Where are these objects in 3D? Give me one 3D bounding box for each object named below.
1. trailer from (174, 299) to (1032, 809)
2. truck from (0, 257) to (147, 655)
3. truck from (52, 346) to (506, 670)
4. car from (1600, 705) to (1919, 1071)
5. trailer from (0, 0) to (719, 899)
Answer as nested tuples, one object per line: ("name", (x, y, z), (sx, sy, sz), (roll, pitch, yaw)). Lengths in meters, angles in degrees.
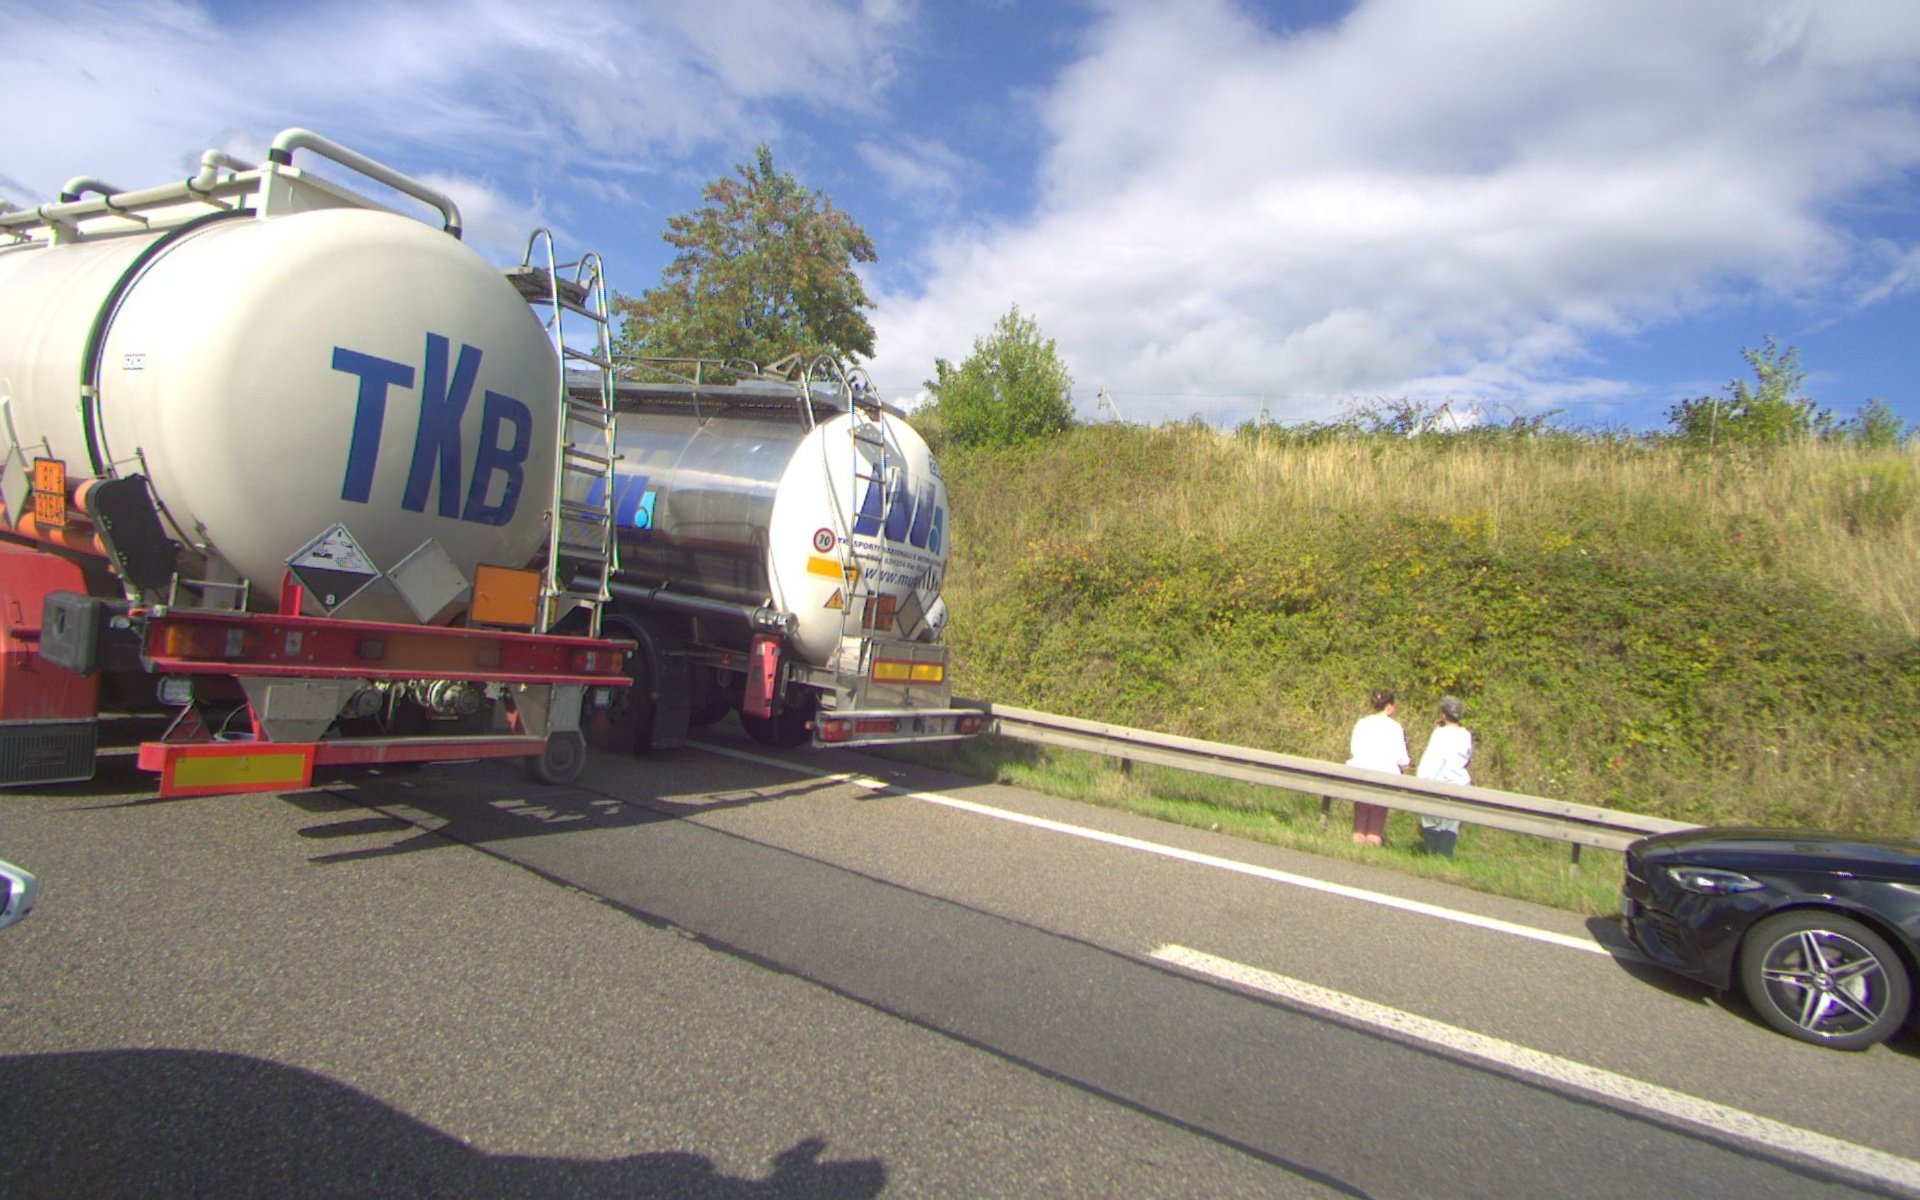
("trailer", (-4.606, -0.694, 10.979), (10.451, 3.641, 2.545), (6, -1, 32))
("truck", (-11.896, -1.674, 10.827), (6.617, 3.626, 2.538), (6, -1, 32))
("truck", (-9.771, -1.271, 14.210), (6.664, 3.616, 2.533), (6, -1, 32))
("car", (6.006, 1.633, 4.892), (4.658, 1.531, 1.904), (7, -1, 31))
("trailer", (-6.699, -1.092, 7.572), (10.451, 3.697, 2.545), (6, -1, 32))
